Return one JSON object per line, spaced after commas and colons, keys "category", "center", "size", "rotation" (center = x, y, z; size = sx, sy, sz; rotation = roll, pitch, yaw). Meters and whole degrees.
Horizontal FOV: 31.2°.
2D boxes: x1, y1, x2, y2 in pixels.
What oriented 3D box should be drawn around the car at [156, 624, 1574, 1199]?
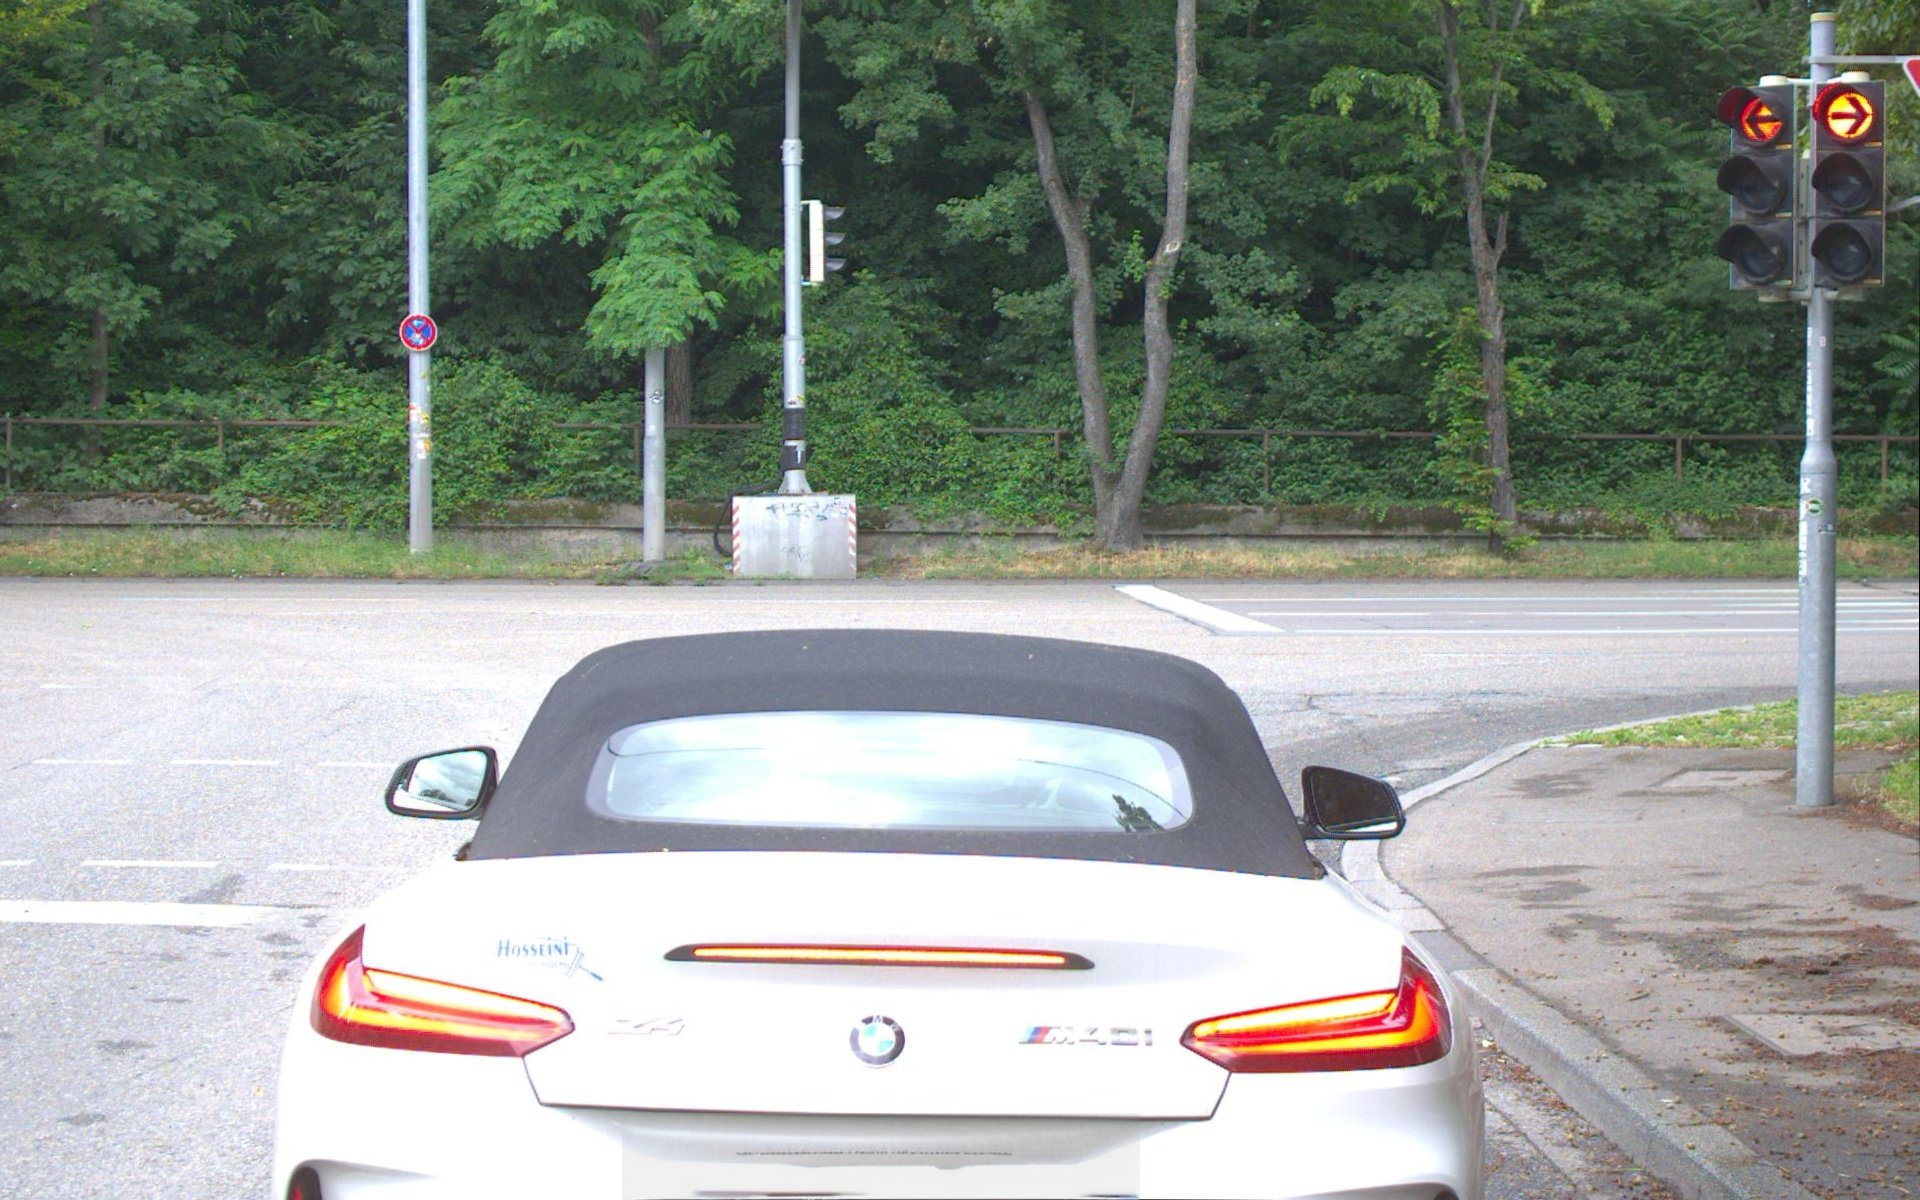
{"category": "car", "center": [-0.215, 0.701, 6.473], "size": [1.827, 1.253, 4.000], "rotation": [2, 0, -3]}
